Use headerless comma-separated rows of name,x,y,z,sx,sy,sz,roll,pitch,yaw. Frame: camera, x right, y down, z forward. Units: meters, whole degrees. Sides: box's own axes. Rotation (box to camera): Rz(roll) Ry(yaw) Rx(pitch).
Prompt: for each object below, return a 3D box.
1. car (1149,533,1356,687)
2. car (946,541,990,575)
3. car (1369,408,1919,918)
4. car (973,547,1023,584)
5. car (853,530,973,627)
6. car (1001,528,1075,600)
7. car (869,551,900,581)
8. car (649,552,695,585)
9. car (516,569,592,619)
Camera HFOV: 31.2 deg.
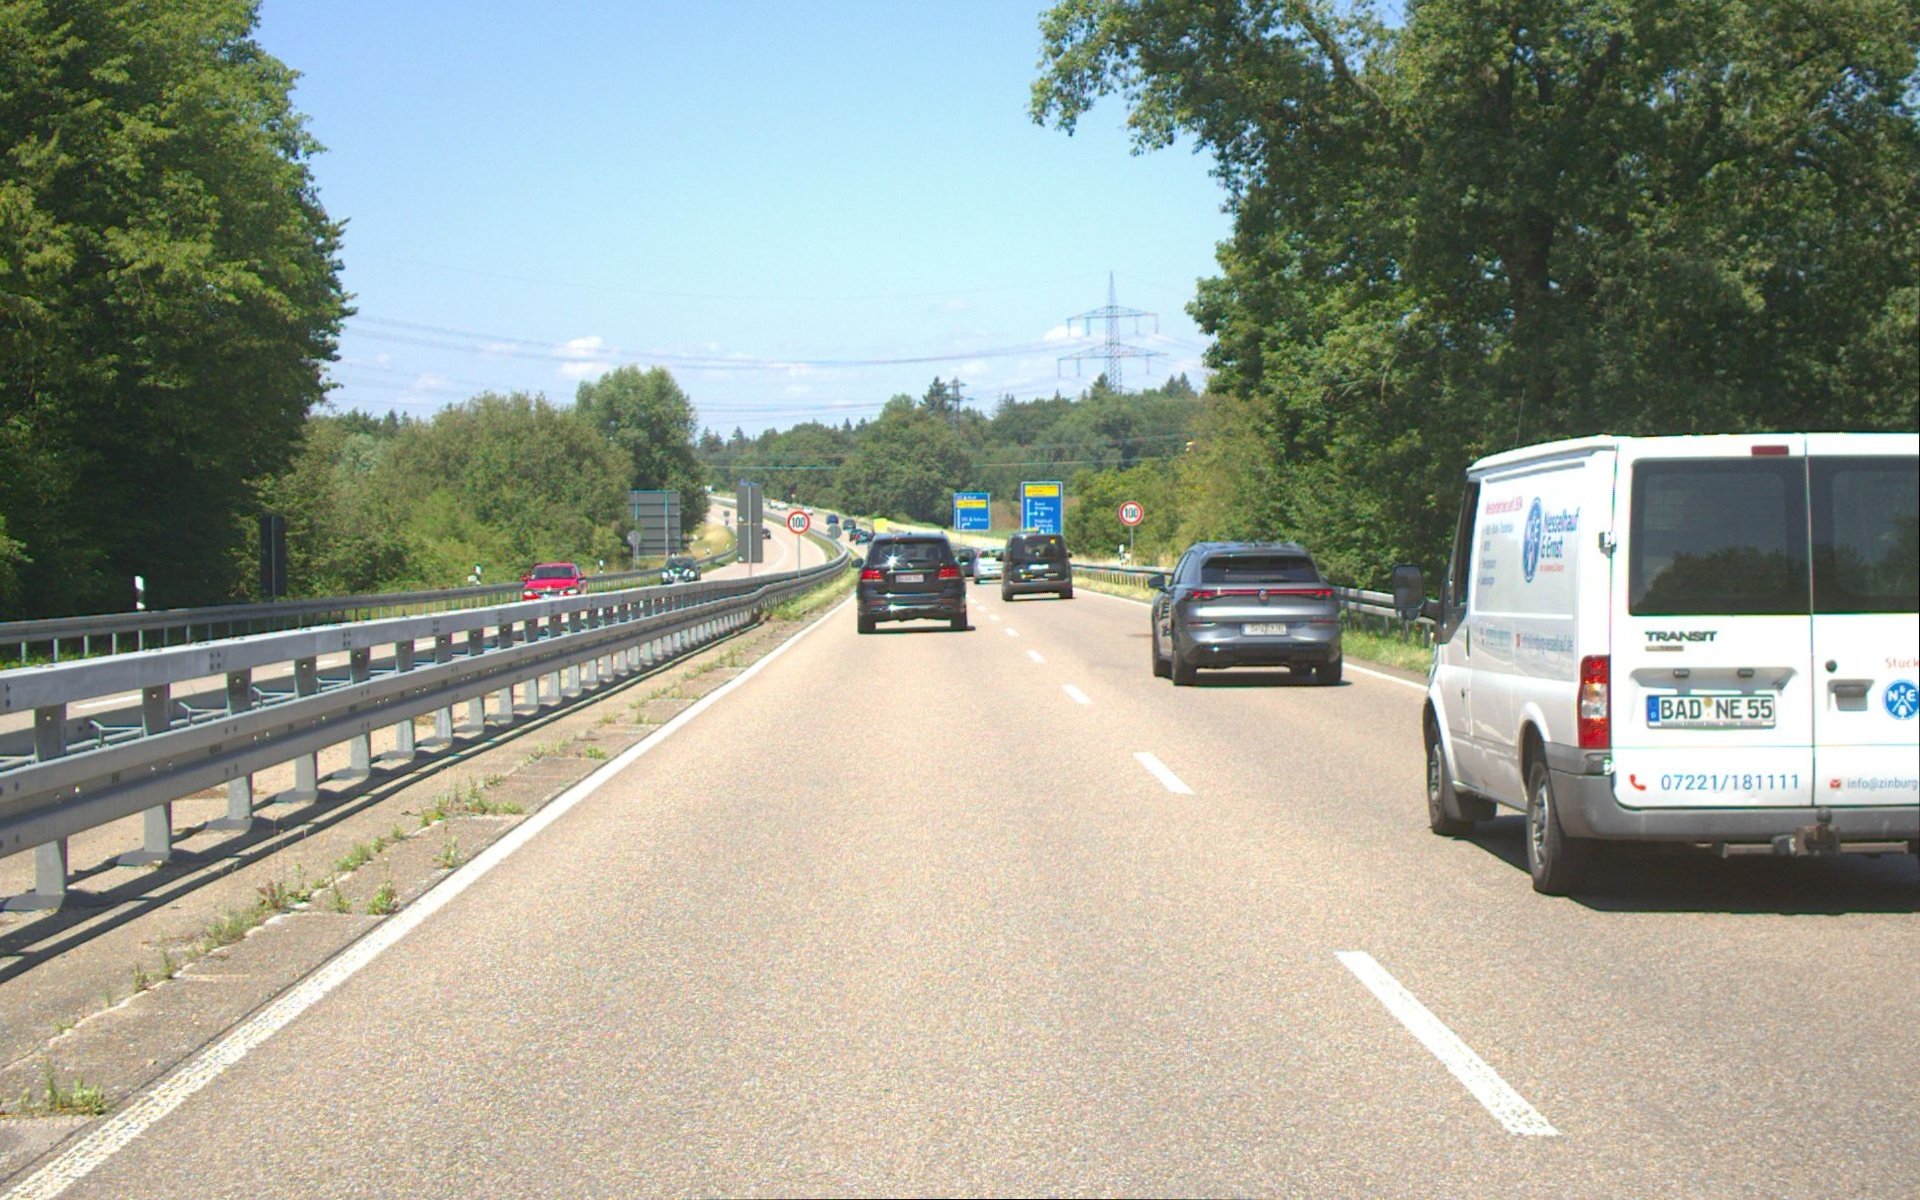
car,3.137,0.060,37.588,1.785,1.548,4.020,-1,1,-2
car,0.336,-1.869,152.013,1.819,1.409,4.001,-2,1,-1
car,3.355,0.224,16.217,2.005,1.982,5.035,-2,0,-2
car,1.528,-1.396,138.727,1.779,1.474,4.316,0,1,-3
car,-0.865,-0.406,60.957,1.993,1.649,4.001,0,1,-3
car,2.071,-0.989,92.404,1.779,1.810,4.213,-1,1,-1
car,-3.901,-1.764,177.446,1.514,1.470,3.066,1,1,-3
car,-13.148,-1.435,157.196,1.797,1.463,3.773,0,1,0
car,-12.028,-0.203,102.151,1.776,1.414,4.575,-1,1,-1
